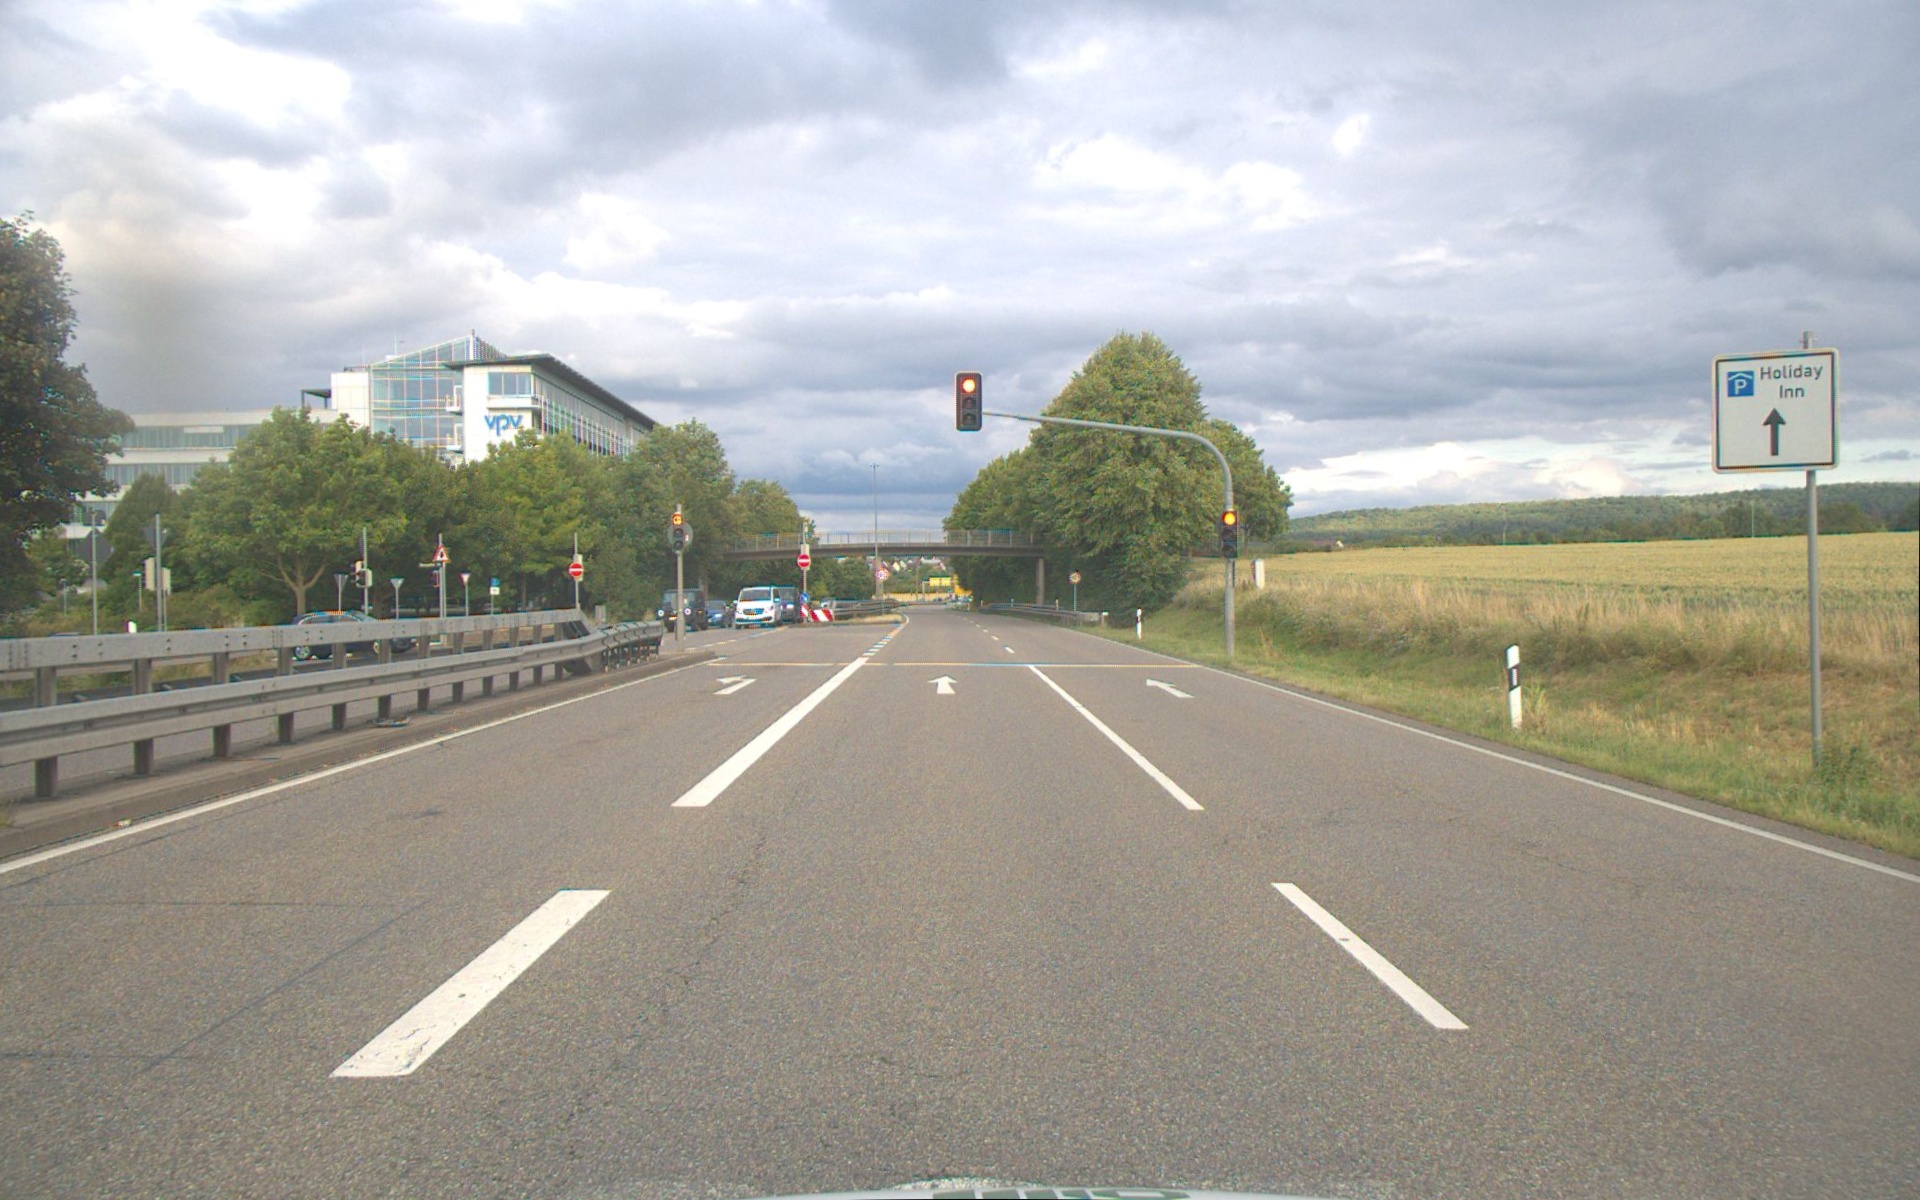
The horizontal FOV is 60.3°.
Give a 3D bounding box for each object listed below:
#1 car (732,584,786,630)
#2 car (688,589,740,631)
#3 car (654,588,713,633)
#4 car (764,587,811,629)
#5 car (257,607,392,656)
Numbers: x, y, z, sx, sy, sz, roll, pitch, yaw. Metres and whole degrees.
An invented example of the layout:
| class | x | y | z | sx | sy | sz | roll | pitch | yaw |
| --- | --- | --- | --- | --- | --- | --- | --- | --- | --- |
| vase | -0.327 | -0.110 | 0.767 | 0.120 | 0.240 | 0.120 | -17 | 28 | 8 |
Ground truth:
| class | x | y | z | sx | sy | sz | roll | pitch | yaw |
| --- | --- | --- | --- | --- | --- | --- | --- | --- | --- |
| car | -9.502 | 0.331 | 78.496 | 2.041 | 2.049 | 5.214 | 1 | 0 | -2 |
| car | -12.717 | 0.520 | 85.839 | 2.041 | 2.049 | 5.214 | 1 | 0 | -2 |
| car | -13.062 | 0.483 | 78.334 | 2.041 | 2.049 | 5.214 | 1 | 0 | -2 |
| car | -8.952 | 0.417 | 86.239 | 2.041 | 2.049 | 5.214 | 1 | 0 | -2 |
| car | -21.524 | 1.068 | 56.149 | 3.911 | 1.579 | 1.883 | 1 | 0 | -7 |
